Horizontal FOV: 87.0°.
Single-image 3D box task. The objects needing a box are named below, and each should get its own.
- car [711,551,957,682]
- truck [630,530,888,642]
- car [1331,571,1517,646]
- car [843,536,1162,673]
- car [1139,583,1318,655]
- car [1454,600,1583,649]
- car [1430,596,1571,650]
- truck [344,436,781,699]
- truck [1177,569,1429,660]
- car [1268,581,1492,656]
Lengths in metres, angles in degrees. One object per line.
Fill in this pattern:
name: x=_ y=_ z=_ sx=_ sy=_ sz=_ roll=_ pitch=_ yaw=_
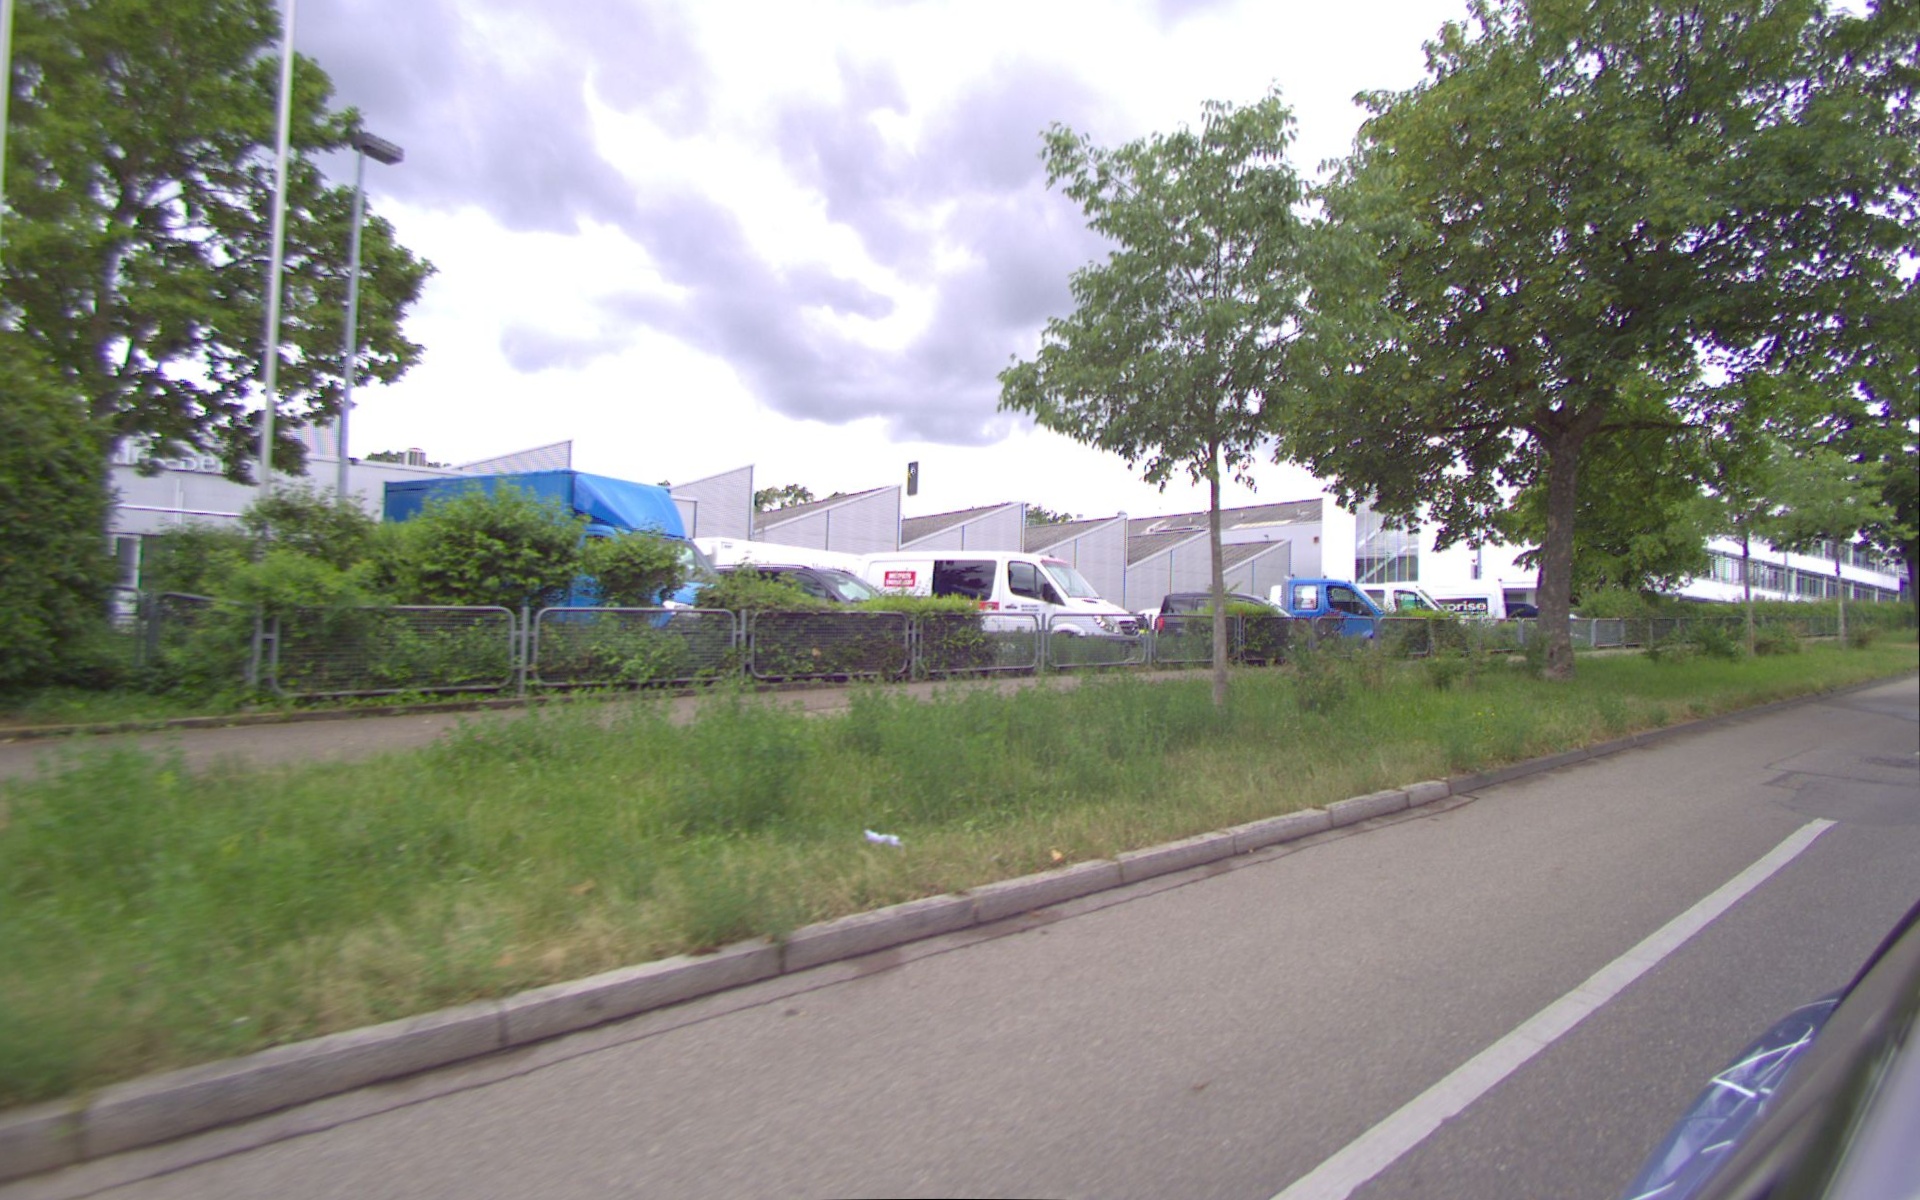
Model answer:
car: x=-2.229 y=0.291 z=17.948 sx=3.955 sy=2.102 sz=1.909 roll=-1 pitch=-1 yaw=24
truck: x=-6.840 y=-0.403 z=36.213 sx=2.849 sy=3.503 sz=9.402 roll=-1 pitch=-1 yaw=40
car: x=14.698 y=0.287 z=32.214 sx=5.211 sy=2.216 sz=2.051 roll=-1 pitch=-1 yaw=28
car: x=0.778 y=0.125 z=20.209 sx=5.976 sy=2.397 sz=2.338 roll=-1 pitch=-1 yaw=29
car: x=6.584 y=0.464 z=24.798 sx=3.957 sy=1.650 sz=1.983 roll=-1 pitch=-1 yaw=25
car: x=24.527 y=1.079 z=44.640 sx=4.506 sy=2.060 sz=2.063 roll=-1 pitch=-1 yaw=13
car: x=21.352 y=0.903 z=40.178 sx=4.506 sy=2.060 sz=2.063 roll=-1 pitch=-1 yaw=13
truck: x=-6.543 y=-0.464 z=16.390 sx=7.120 sy=3.521 sz=2.593 roll=1 pitch=-1 yaw=28
truck: x=9.172 y=0.404 z=27.238 sx=6.186 sy=2.241 sz=2.228 roll=-1 pitch=-1 yaw=25
car: x=12.096 y=0.530 z=29.336 sx=5.778 sy=1.982 sz=2.049 roll=-1 pitch=-1 yaw=31
